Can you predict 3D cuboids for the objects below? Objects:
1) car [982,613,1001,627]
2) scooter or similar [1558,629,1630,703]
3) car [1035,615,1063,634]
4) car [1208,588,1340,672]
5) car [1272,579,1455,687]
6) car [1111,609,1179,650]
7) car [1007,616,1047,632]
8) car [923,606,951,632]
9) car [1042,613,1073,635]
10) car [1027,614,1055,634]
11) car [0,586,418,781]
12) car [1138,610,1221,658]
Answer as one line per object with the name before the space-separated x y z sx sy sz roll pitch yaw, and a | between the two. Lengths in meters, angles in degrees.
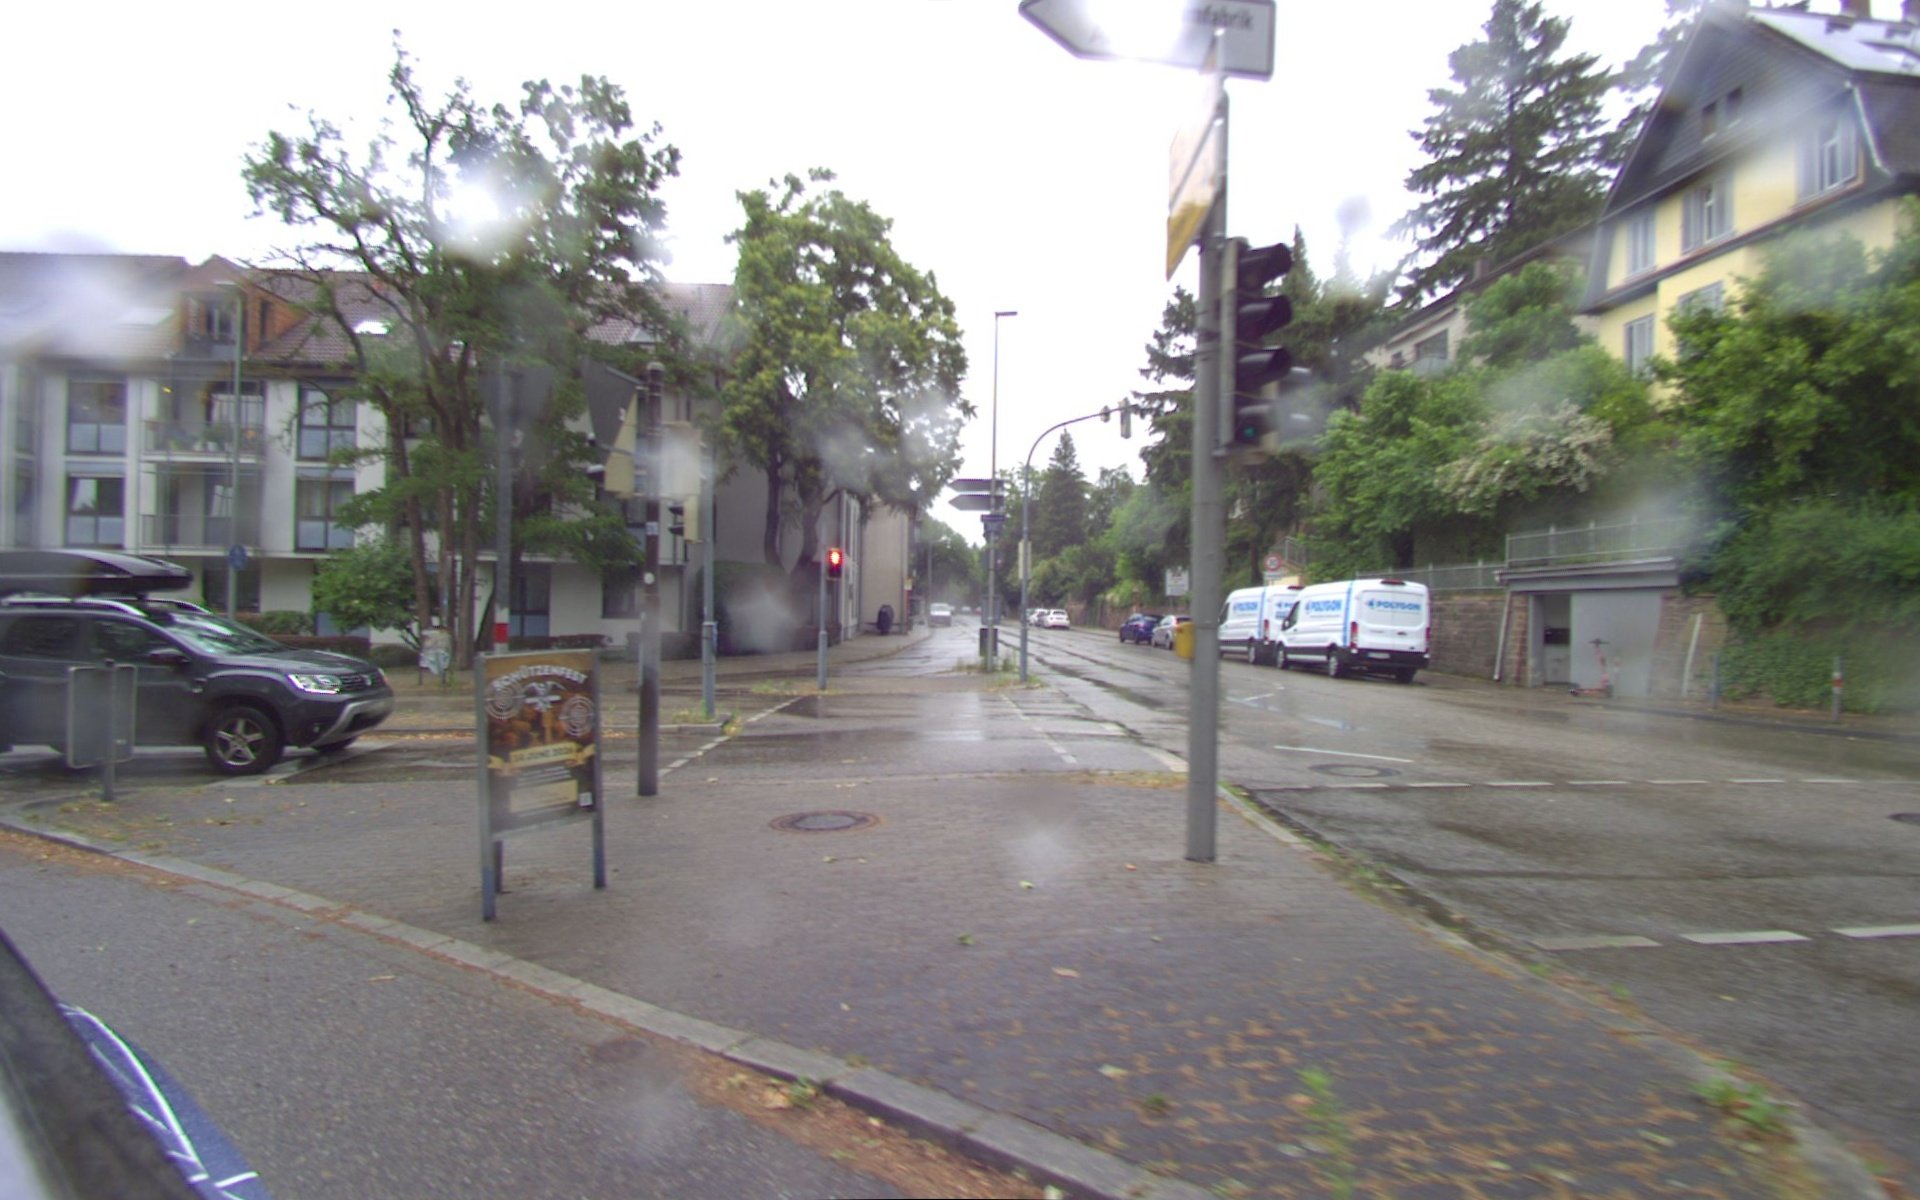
car | 4.196 2.669 135.008 1.898 1.664 3.985 1 -2 -6
scooter or similar | 11.985 1.224 19.149 1.094 1.345 0.455 -1 -3 44
car | 7.226 2.030 82.589 1.734 1.409 4.001 1 -2 -2
car | 10.192 0.912 33.424 2.281 2.513 5.585 1 0 -3
car | 10.450 0.793 26.866 2.281 2.513 5.683 1 0 -3
car | 9.264 1.449 51.128 2.079 1.867 5.585 1 0 -3
car | 6.500 2.351 98.681 3.833 1.453 1.814 1 -2 5
car | -1.923 1.600 83.838 2.052 1.974 4.452 1 -2 -5
car | 7.420 1.872 77.645 1.792 1.658 4.002 1 -2 -3
car | 7.055 2.106 88.142 1.899 1.667 4.002 1 -2 -3
car | -8.184 0.761 10.135 4.529 1.724 1.768 -1 0 -6
car | 9.548 1.429 44.528 2.079 1.867 5.585 1 0 -3
